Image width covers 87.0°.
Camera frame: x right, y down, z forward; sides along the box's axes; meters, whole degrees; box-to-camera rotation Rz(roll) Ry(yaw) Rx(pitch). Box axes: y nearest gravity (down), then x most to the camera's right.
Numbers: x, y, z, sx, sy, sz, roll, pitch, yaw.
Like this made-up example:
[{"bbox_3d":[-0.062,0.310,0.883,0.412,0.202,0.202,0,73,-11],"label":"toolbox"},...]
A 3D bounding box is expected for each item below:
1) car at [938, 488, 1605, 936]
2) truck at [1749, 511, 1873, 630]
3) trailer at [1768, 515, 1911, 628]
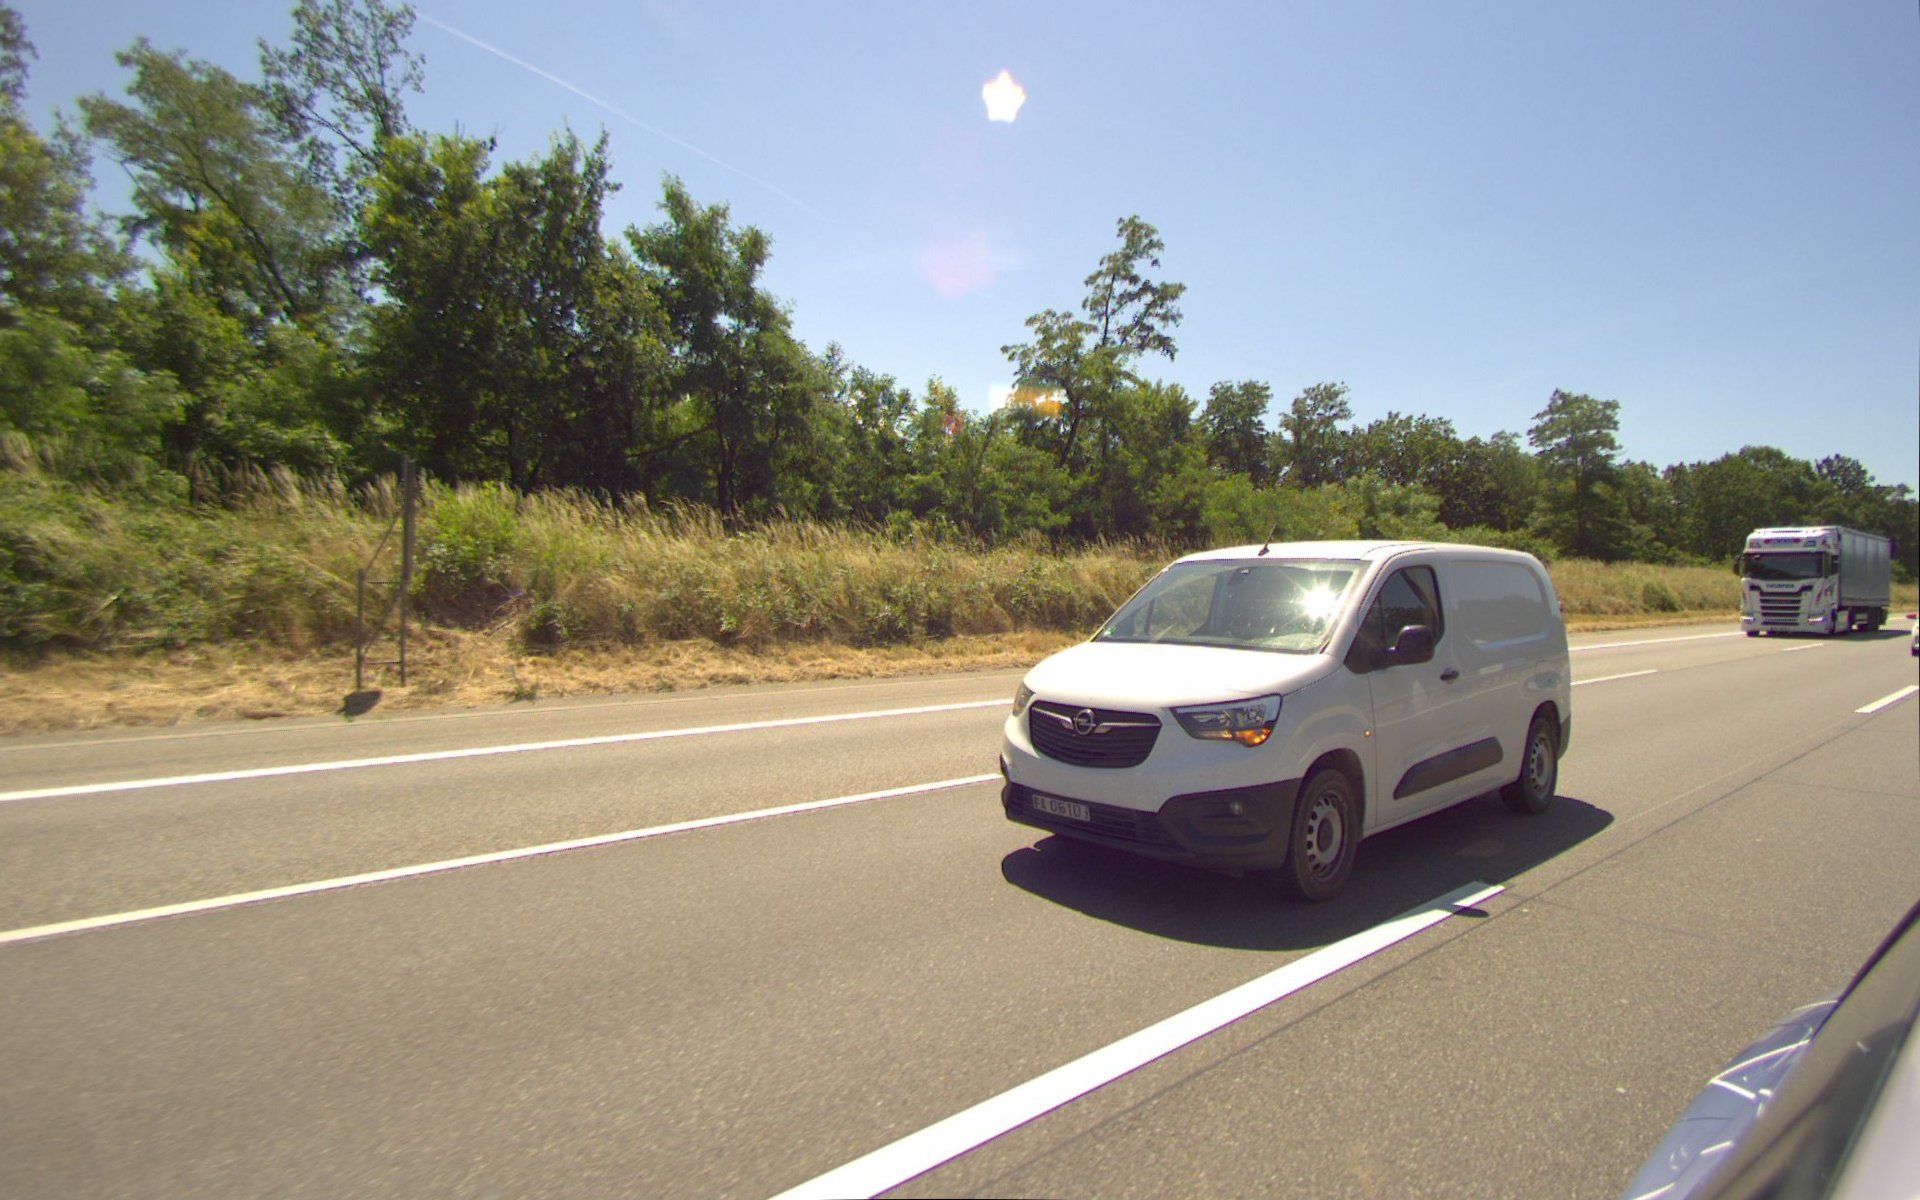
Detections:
[{"bbox_3d":[2.299,0.435,6.487,4.856,1.840,1.868,-1,0,-42],"label":"car"},{"bbox_3d":[31.481,-1.029,37.357,6.066,4.053,2.601,0,0,-41],"label":"truck"},{"bbox_3d":[36.683,-1.083,41.918,13.835,4.053,2.601,-1,0,-41],"label":"trailer"}]
